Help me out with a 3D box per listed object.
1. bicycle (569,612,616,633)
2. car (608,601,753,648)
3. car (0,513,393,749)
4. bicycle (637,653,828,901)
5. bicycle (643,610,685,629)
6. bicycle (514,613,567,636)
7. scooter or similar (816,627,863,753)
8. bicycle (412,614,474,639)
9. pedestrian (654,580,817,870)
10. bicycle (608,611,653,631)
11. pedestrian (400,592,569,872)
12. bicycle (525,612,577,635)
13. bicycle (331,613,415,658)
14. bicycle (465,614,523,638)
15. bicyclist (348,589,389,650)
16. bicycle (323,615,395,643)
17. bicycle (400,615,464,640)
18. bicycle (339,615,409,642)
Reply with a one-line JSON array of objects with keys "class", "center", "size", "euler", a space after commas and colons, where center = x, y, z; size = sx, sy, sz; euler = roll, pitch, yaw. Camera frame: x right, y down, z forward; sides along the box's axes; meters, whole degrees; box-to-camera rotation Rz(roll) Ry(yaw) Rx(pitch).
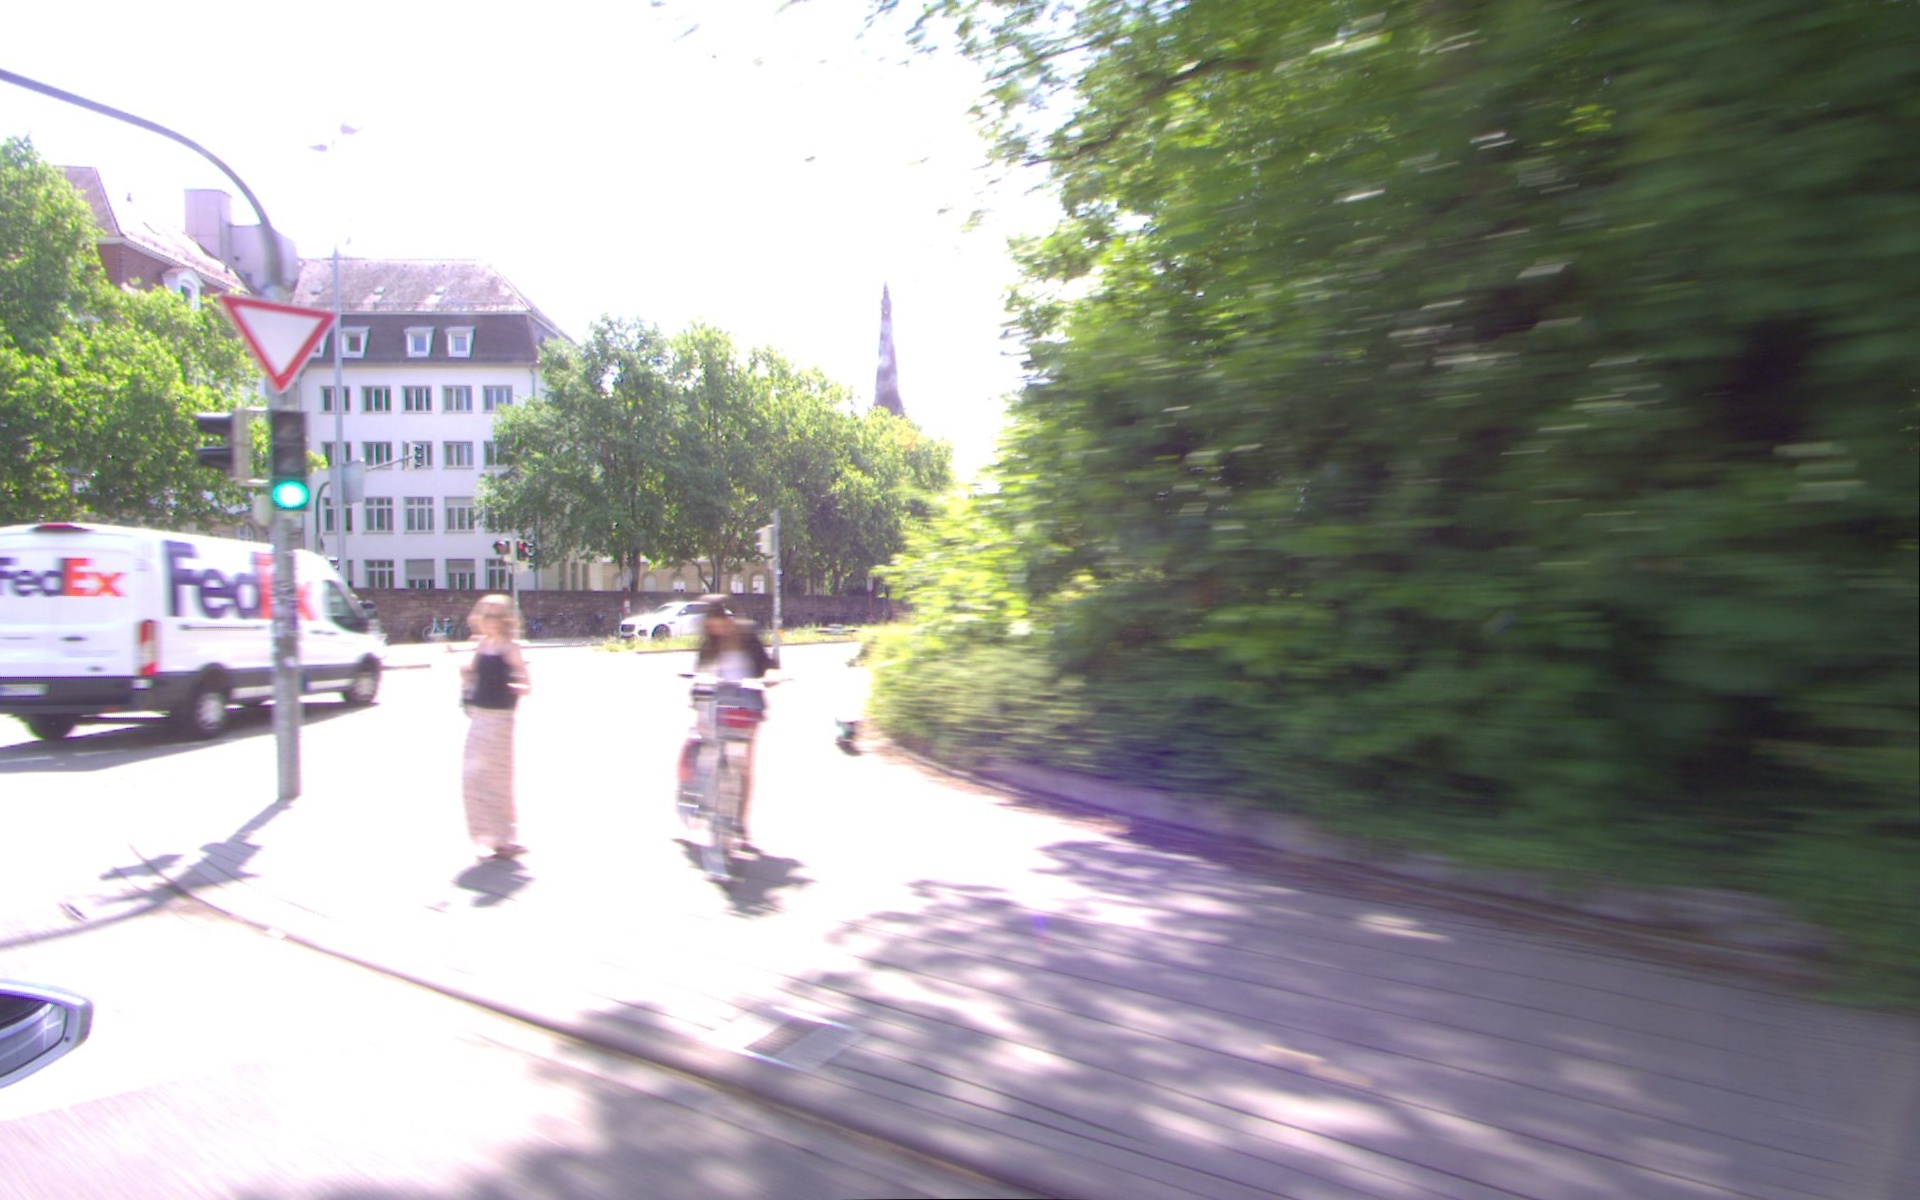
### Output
[{"class": "bicycle", "center": [-18.240, 1.088, 49.768], "size": [0.742, 1.007, 2.380], "euler": [0, 0, 26]}, {"class": "car", "center": [-10.667, 0.890, 38.564], "size": [1.975, 1.663, 5.268], "euler": [0, 0, 38]}, {"class": "car", "center": [-10.290, 0.341, 13.823], "size": [2.061, 2.601, 5.600], "euler": [1, 0, -4]}, {"class": "bicycle", "center": [-1.406, 0.938, 5.933], "size": [0.585, 1.142, 1.733], "euler": [-3, 2, -29]}, {"class": "bicycle", "center": [-16.037, 1.056, 54.254], "size": [0.742, 1.007, 2.379], "euler": [0, 0, 27]}, {"class": "bicycle", "center": [-19.744, 1.131, 47.152], "size": [0.742, 1.007, 2.378], "euler": [0, 0, 28]}, {"class": "scooter or similar", "center": [-1.223, 0.865, 10.029], "size": [0.281, 1.162, 1.176], "euler": [-1, 0, -16]}, {"class": "bicycle", "center": [-21.957, 1.129, 42.581], "size": [0.713, 1.007, 2.378], "euler": [0, 0, 28]}, {"class": "pedestrian", "center": [-1.369, 0.698, 6.068], "size": [0.716, 1.597, 0.729], "euler": [-3, 2, -30]}, {"class": "bicycle", "center": [-17.094, 1.095, 52.009], "size": [0.742, 1.007, 2.379], "euler": [0, 0, 26]}, {"class": "pedestrian", "center": [-3.001, 0.763, 6.312], "size": [0.725, 1.597, 0.769], "euler": [-4, 3, -40]}, {"class": "bicycle", "center": [-19.463, 1.109, 47.663], "size": [0.713, 1.007, 2.378], "euler": [0, 0, 29]}, {"class": "bicycle", "center": [-16.717, 0.988, 28.528], "size": [1.966, 1.201, 0.676], "euler": [0, 1, -40]}, {"class": "bicycle", "center": [-20.872, 1.135, 44.872], "size": [0.742, 1.007, 2.378], "euler": [0, 0, 28]}, {"class": "bicyclist", "center": [-16.805, 0.544, 28.442], "size": [0.880, 1.694, 0.678], "euler": [-1, 1, -40]}, {"class": "bicycle", "center": [-23.606, 1.121, 39.375], "size": [0.742, 1.007, 2.378], "euler": [0, 0, 28]}, {"class": "bicycle", "center": [-22.188, 1.135, 42.137], "size": [0.742, 1.007, 2.378], "euler": [0, 0, 28]}, {"class": "bicycle", "center": [-23.331, 1.137, 39.908], "size": [0.686, 1.007, 2.378], "euler": [0, 0, 28]}]
